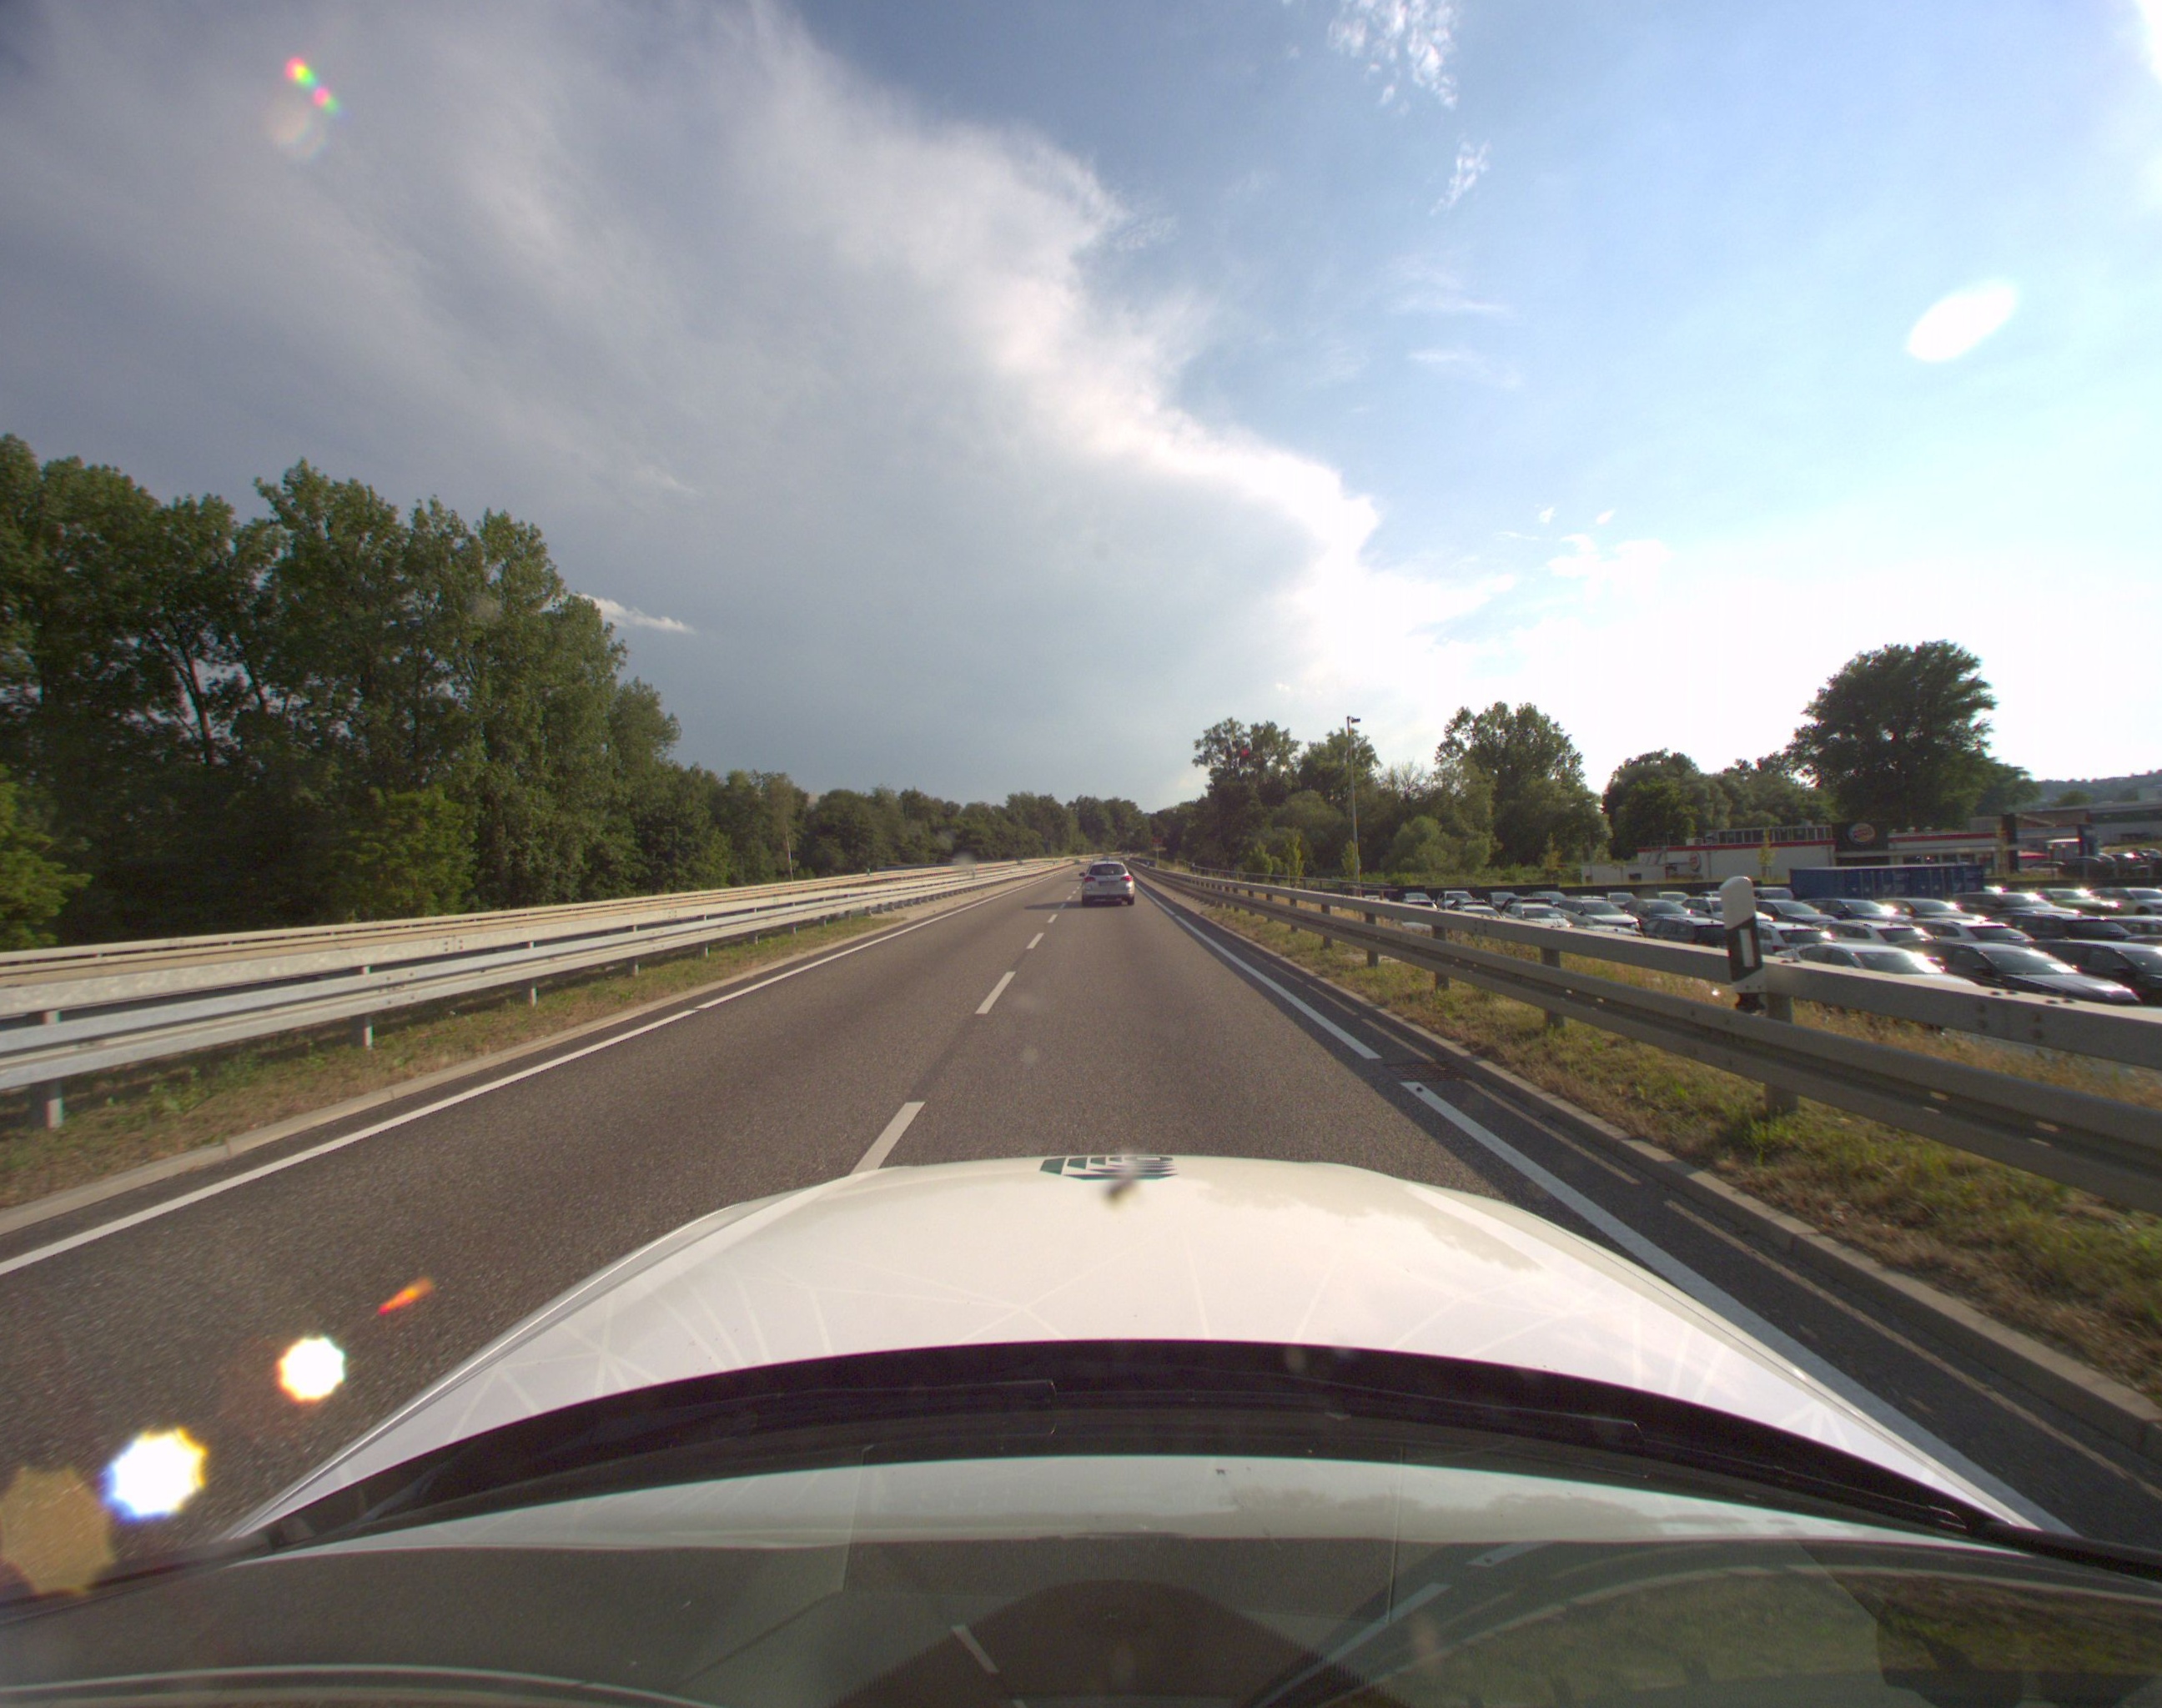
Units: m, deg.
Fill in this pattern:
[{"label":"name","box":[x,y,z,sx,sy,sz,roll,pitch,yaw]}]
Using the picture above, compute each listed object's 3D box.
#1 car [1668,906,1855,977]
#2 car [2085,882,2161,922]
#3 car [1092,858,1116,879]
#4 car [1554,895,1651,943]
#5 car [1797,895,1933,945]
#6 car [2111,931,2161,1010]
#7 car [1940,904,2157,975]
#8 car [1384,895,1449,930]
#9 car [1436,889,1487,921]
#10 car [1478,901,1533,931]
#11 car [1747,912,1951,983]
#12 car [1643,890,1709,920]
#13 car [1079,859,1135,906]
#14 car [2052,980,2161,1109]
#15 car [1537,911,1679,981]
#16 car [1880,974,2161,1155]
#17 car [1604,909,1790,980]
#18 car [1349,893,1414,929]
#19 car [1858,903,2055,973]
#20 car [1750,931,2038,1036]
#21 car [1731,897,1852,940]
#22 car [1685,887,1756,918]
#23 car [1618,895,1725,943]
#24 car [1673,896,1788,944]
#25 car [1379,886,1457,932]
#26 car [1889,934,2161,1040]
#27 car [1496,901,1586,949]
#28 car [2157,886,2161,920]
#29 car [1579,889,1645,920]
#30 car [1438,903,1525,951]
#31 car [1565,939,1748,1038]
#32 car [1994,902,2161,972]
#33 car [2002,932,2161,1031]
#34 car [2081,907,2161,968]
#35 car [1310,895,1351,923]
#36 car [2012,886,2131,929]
[{"label":"car","box":[20.470,2.567,24.825,1.829,1.716,4.667,-1,-1,1]},{"label":"car","box":[47.919,2.120,36.590,1.733,1.577,3.797,-1,-1,18]},{"label":"car","box":[1.731,1.074,61.667,1.802,1.486,4.001,-1,-1,1]},{"label":"car","box":[21.467,2.638,33.716,1.766,1.684,4.007,-1,-1,6]},{"label":"car","box":[30.793,2.545,32.176,1.766,1.684,4.007,-1,-1,6]},{"label":"car","box":[24.928,2.618,17.124,1.765,1.684,4.008,-1,-1,8]},{"label":"car","box":[27.831,2.388,23.664,1.766,1.684,4.007,-1,-1,7]},{"label":"car","box":[16.237,2.789,39.579,1.698,1.464,4.004,-1,-1,4]},{"label":"car","box":[22.399,2.960,48.101,1.939,1.642,4.259,-1,-1,14]},{"label":"car","box":[24.557,3.573,47.282,1.939,1.464,4.015,-1,-1,14]},{"label":"car","box":[22.932,2.717,24.631,1.872,1.636,4.733,-1,-1,3]},{"label":"car","box":[32.476,2.762,44.577,1.692,1.464,4.018,-1,-1,17]},{"label":"car","box":[0.897,0.951,28.516,1.802,1.486,4.001,-1,-1,1]},{"label":"car","box":[16.362,2.813,10.663,1.871,1.636,4.736,-1,-1,5]},{"label":"car","box":[15.755,2.689,24.617,1.768,1.684,4.001,-1,-1,2]},{"label":"car","box":[13.610,2.705,10.619,1.872,1.626,4.733,-1,-1,3]},{"label":"car","box":[18.173,2.605,24.374,1.992,1.651,4.729,-1,-1,1]},{"label":"car","box":[14.343,2.689,39.069,1.699,1.464,4.001,-1,-1,2]},{"label":"car","box":[25.349,2.364,23.810,1.765,1.684,4.008,-1,-1,8]},{"label":"car","box":[17.864,2.767,18.321,1.872,1.636,4.732,-1,-1,2]},{"label":"car","box":[28.774,2.585,33.138,1.697,1.464,4.006,-1,-1,6]},{"label":"car","box":[34.508,2.587,44.051,1.692,1.464,4.018,-1,-1,17]},{"label":"car","box":[23.962,2.596,33.236,1.766,1.684,4.007,-1,-1,6]},{"label":"car","box":[26.313,2.623,33.186,1.766,1.684,4.007,-1,-1,6]},{"label":"car","box":[14.147,2.279,34.456,1.768,1.684,4.002,-1,-1,2]},{"label":"car","box":[20.350,2.774,17.784,1.765,1.684,4.008,-1,-1,8]},{"label":"car","box":[19.103,2.904,34.016,1.766,1.684,4.005,-1,-1,5]},{"label":"car","box":[50.501,2.252,35.972,1.733,1.577,3.797,-1,-1,18]},{"label":"car","box":[29.261,2.763,44.982,1.794,1.502,4.014,-1,-1,13]},{"label":"car","box":[16.613,2.975,34.017,1.768,1.684,4.002,-1,-1,2]},{"label":"car","box":[13.116,3.000,18.870,1.606,1.679,3.837,-1,-1,2]},{"label":"car","box":[29.606,2.300,23.319,1.871,1.636,4.736,-1,-1,5]},{"label":"car","box":[22.536,2.674,17.278,1.765,1.684,4.008,-1,-1,8]},{"label":"car","box":[32.242,2.466,23.209,1.871,1.636,4.734,-1,-1,4]},{"label":"car","box":[15.435,3.366,50.485,1.697,1.464,4.007,-1,-1,6]},{"label":"car","box":[45.867,2.429,37.837,1.733,1.794,3.797,-1,-1,18]}]
